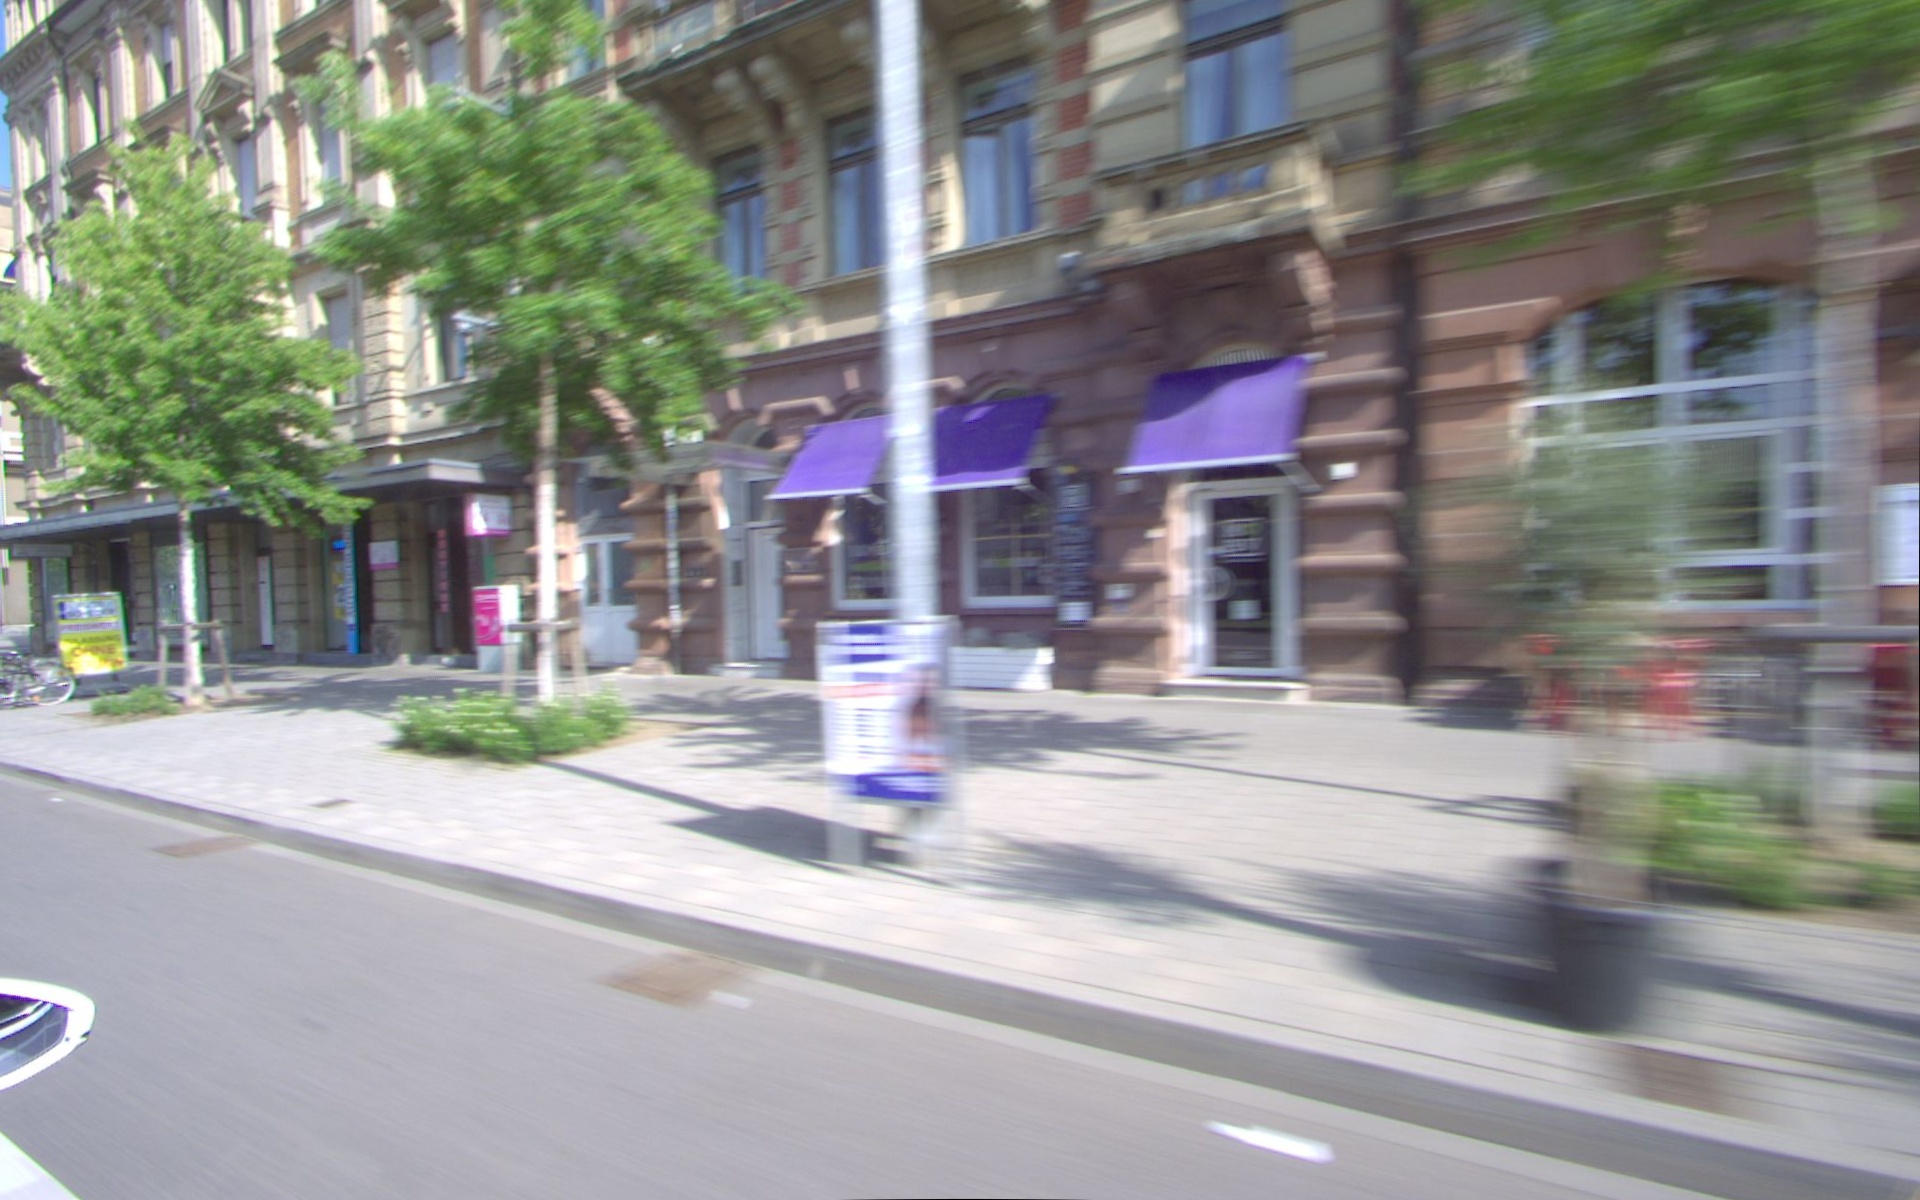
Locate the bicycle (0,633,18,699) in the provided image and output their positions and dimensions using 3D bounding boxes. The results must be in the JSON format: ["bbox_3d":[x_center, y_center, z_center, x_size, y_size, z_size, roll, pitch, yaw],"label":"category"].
[{"bbox_3d":[-15.552,1.076,15.047,0.464,1.000,1.929,0,3,32],"label":"bicycle"}]

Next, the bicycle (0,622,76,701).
[{"bbox_3d":[-14.640,0.958,14.806,0.511,1.120,2.233,0,3,32],"label":"bicycle"}]

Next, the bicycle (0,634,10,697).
[{"bbox_3d":[-15.940,1.087,15.318,0.464,1.000,1.950,0,3,32],"label":"bicycle"}]

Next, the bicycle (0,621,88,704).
[{"bbox_3d":[-14.187,0.945,14.497,0.580,1.120,2.233,0,3,32],"label":"bicycle"}]
